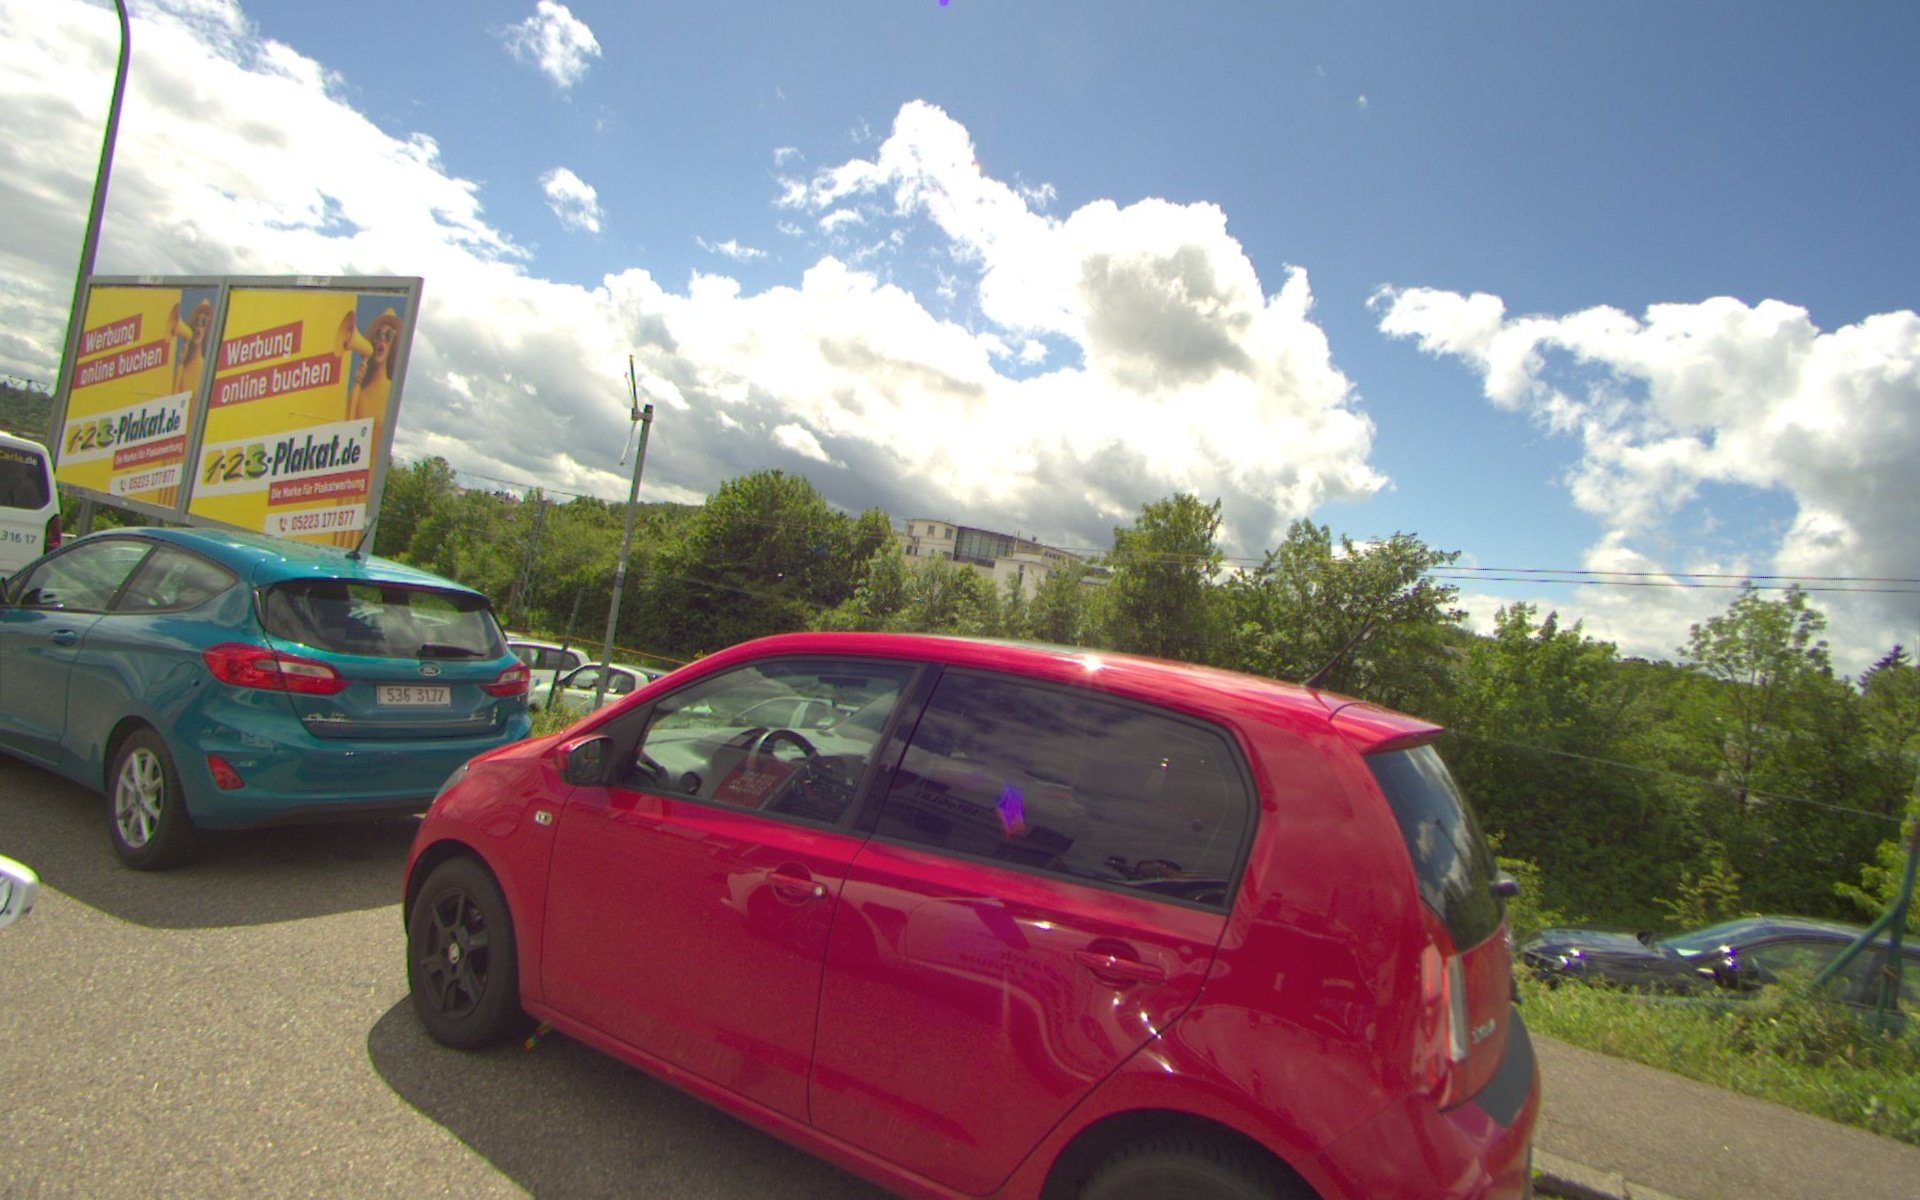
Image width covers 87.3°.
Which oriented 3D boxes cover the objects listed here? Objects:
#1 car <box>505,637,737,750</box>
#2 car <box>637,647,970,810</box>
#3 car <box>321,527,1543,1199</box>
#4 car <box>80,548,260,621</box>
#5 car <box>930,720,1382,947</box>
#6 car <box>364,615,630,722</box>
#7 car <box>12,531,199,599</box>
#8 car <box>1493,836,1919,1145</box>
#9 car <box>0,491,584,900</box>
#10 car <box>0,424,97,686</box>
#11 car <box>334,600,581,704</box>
[{"bbox_3d":[-5.645,1.511,16.639,3.650,1.274,1.574,7,-2,32],"label":"car"},{"bbox_3d":[-2.301,1.723,14.274,4.481,1.458,1.819,7,-2,33],"label":"car"},{"bbox_3d":[-0.216,0.754,3.212,3.442,1.498,1.596,7,-2,31],"label":"car"},{"bbox_3d":[-23.348,-0.448,29.945,3.965,1.558,1.771,9,-2,-35],"label":"car"},{"bbox_3d":[2.077,2.376,11.206,4.481,1.367,1.819,7,-2,33],"label":"car"},{"bbox_3d":[-8.350,1.297,18.389,1.625,1.507,3.980,6,-2,44],"label":"car"},{"bbox_3d":[-28.908,-1.142,34.174,1.970,1.572,4.447,6,-2,38],"label":"car"},{"bbox_3d":[6.846,3.115,7.870,4.481,1.367,1.819,7,-2,33],"label":"car"},{"bbox_3d":[-4.149,0.309,5.552,3.911,1.467,1.597,7,-2,29],"label":"car"},{"bbox_3d":[-10.076,-0.681,8.838,5.454,2.027,1.979,7,-2,31],"label":"car"},{"bbox_3d":[-10.044,1.104,20.363,1.767,1.616,3.987,7,-2,39],"label":"car"}]
